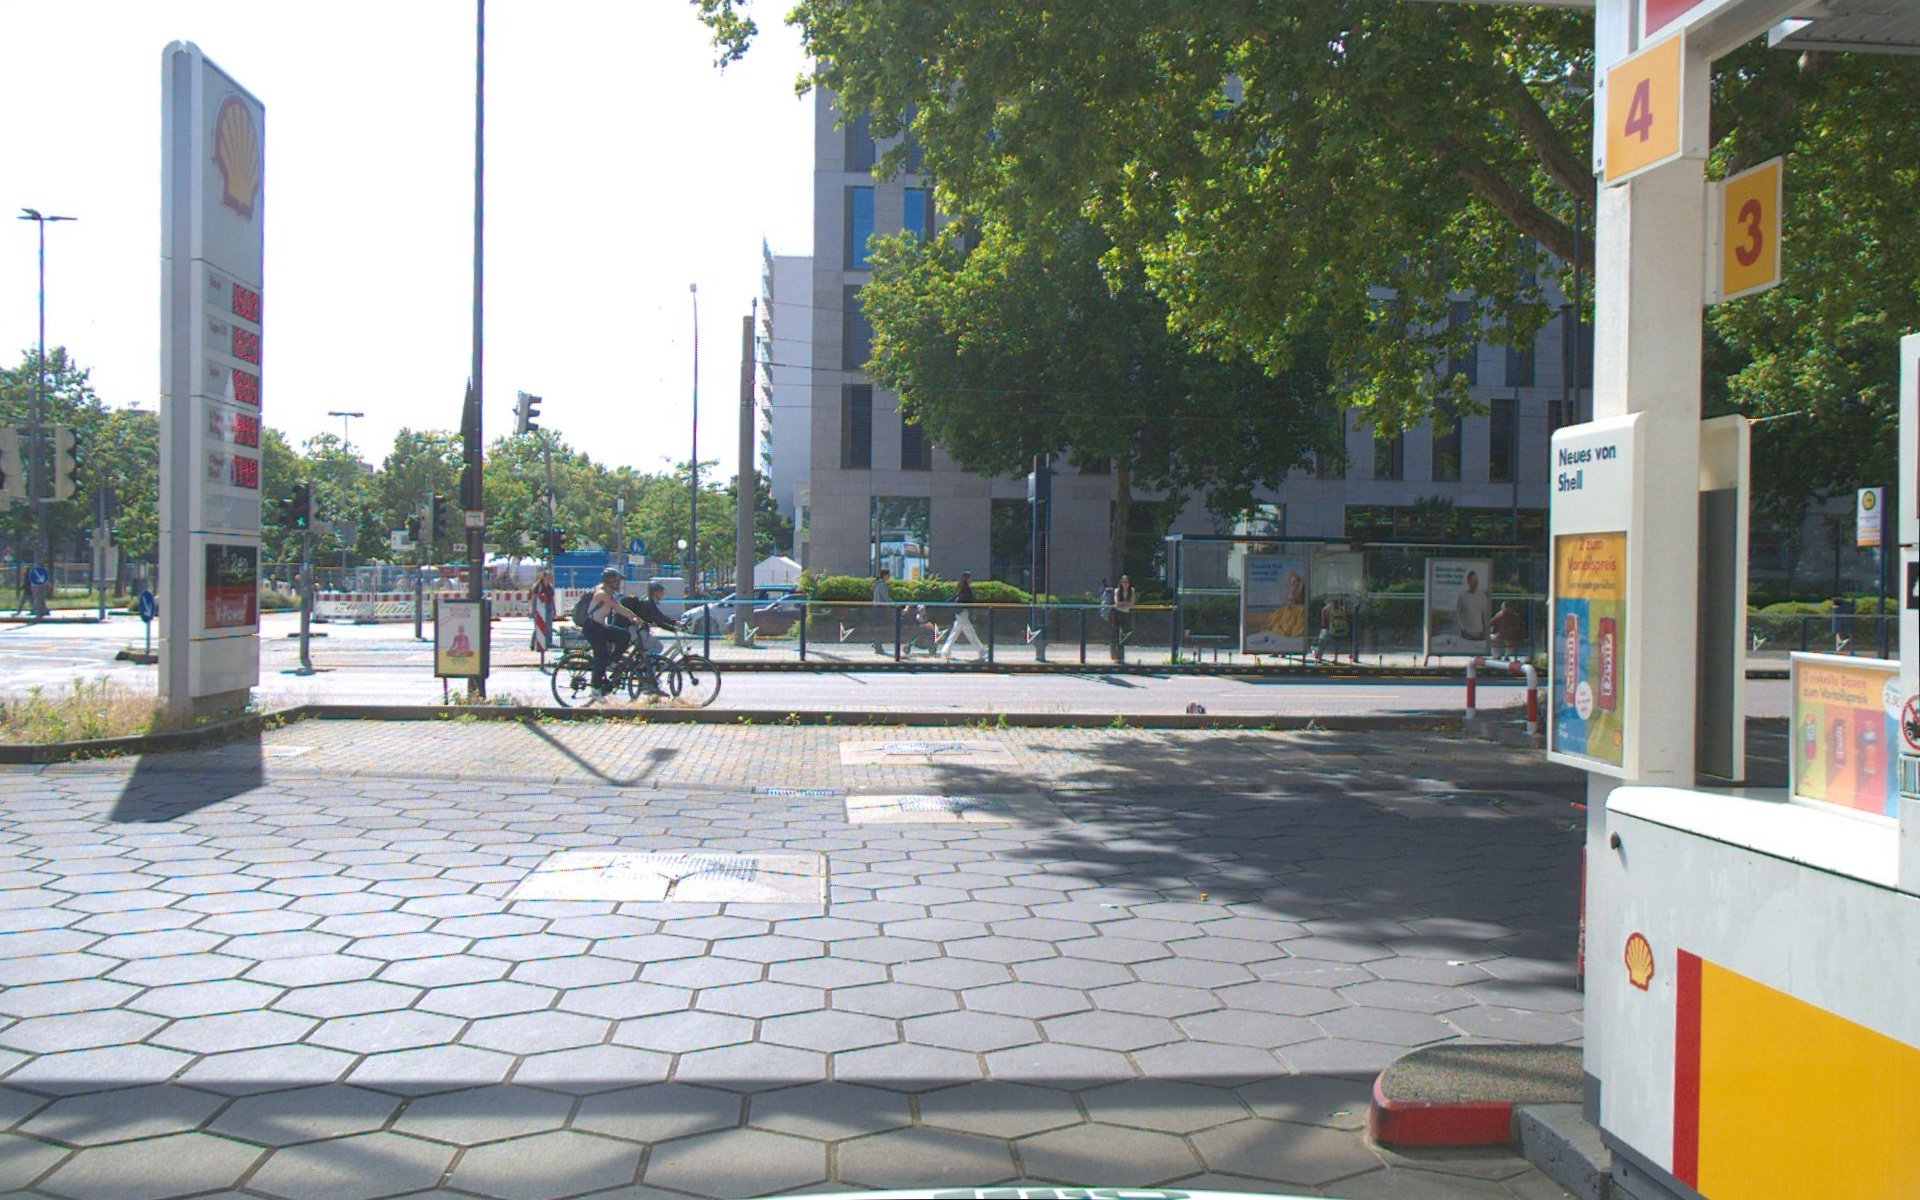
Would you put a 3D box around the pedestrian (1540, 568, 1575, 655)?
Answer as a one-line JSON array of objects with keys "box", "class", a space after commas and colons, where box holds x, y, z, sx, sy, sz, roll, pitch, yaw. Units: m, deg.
[{"box": [12.297, 0.228, 34.040, 0.489, 1.766, 0.524, 1, 0, -3], "class": "pedestrian"}]

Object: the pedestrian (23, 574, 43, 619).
[{"box": [-31.228, -0.119, 55.721, 0.557, 1.494, 0.508, 0, 0, -30], "class": "pedestrian"}]

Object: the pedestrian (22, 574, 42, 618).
[{"box": [-31.803, -0.152, 56.682, 0.557, 1.494, 0.508, 0, 0, -30], "class": "pedestrian"}]

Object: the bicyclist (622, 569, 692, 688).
[{"box": [-4.076, 0.380, 22.291, 0.846, 1.571, 0.534, 1, 0, -5], "class": "bicyclist"}]

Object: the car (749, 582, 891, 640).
[{"box": [-4.039, 0.307, 47.568, 3.915, 1.579, 1.699, 1, 0, -11], "class": "car"}]

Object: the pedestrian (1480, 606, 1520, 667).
[{"box": [10.597, 0.714, 32.476, 0.615, 1.157, 0.524, 1, 0, 1], "class": "pedestrian"}]

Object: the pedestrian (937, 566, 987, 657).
[{"box": [0.038, 0.215, 31.689, 0.912, 1.712, 0.503, 1, 0, 4], "class": "pedestrian"}]

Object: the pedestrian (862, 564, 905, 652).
[{"box": [-1.504, 0.157, 32.509, 0.760, 1.712, 0.503, 1, 0, 4], "class": "pedestrian"}]

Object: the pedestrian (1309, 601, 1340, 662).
[{"box": [7.068, 0.607, 32.061, 0.488, 1.157, 0.524, 1, 0, 1], "class": "pedestrian"}]

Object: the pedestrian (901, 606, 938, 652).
[{"box": [-0.798, 0.564, 32.466, 0.676, 0.895, 0.503, 1, 0, 3], "class": "pedestrian"}]

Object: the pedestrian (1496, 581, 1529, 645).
[{"box": [10.817, 0.247, 32.386, 0.489, 1.241, 0.406, 1, 0, -3], "class": "pedestrian"}]

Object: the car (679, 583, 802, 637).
[{"box": [-6.706, 0.298, 50.419, 3.615, 1.579, 1.588, 1, 0, -11], "class": "car"}]

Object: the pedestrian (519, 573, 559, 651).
[{"box": [-8.623, 0.242, 33.893, 0.636, 1.567, 0.503, 1, 0, 4], "class": "pedestrian"}]

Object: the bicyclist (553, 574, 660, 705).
[{"box": [-4.457, 0.481, 20.887, 1.144, 1.608, 0.640, 1, 0, 13], "class": "bicyclist"}]

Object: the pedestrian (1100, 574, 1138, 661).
[{"box": [3.027, 0.332, 31.470, 0.572, 1.619, 0.669, 1, 2, -6], "class": "pedestrian"}]

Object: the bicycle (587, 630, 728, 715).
[{"box": [-4.066, 0.978, 22.303, 1.825, 1.101, 0.524, 1, 0, -7], "class": "bicycle"}]

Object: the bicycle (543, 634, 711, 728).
[{"box": [-4.187, 1.009, 20.839, 1.976, 1.101, 0.640, 1, 0, 13], "class": "bicycle"}]

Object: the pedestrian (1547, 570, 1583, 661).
[{"box": [11.875, 0.302, 32.479, 0.489, 1.766, 0.524, 1, 0, -3], "class": "pedestrian"}]
